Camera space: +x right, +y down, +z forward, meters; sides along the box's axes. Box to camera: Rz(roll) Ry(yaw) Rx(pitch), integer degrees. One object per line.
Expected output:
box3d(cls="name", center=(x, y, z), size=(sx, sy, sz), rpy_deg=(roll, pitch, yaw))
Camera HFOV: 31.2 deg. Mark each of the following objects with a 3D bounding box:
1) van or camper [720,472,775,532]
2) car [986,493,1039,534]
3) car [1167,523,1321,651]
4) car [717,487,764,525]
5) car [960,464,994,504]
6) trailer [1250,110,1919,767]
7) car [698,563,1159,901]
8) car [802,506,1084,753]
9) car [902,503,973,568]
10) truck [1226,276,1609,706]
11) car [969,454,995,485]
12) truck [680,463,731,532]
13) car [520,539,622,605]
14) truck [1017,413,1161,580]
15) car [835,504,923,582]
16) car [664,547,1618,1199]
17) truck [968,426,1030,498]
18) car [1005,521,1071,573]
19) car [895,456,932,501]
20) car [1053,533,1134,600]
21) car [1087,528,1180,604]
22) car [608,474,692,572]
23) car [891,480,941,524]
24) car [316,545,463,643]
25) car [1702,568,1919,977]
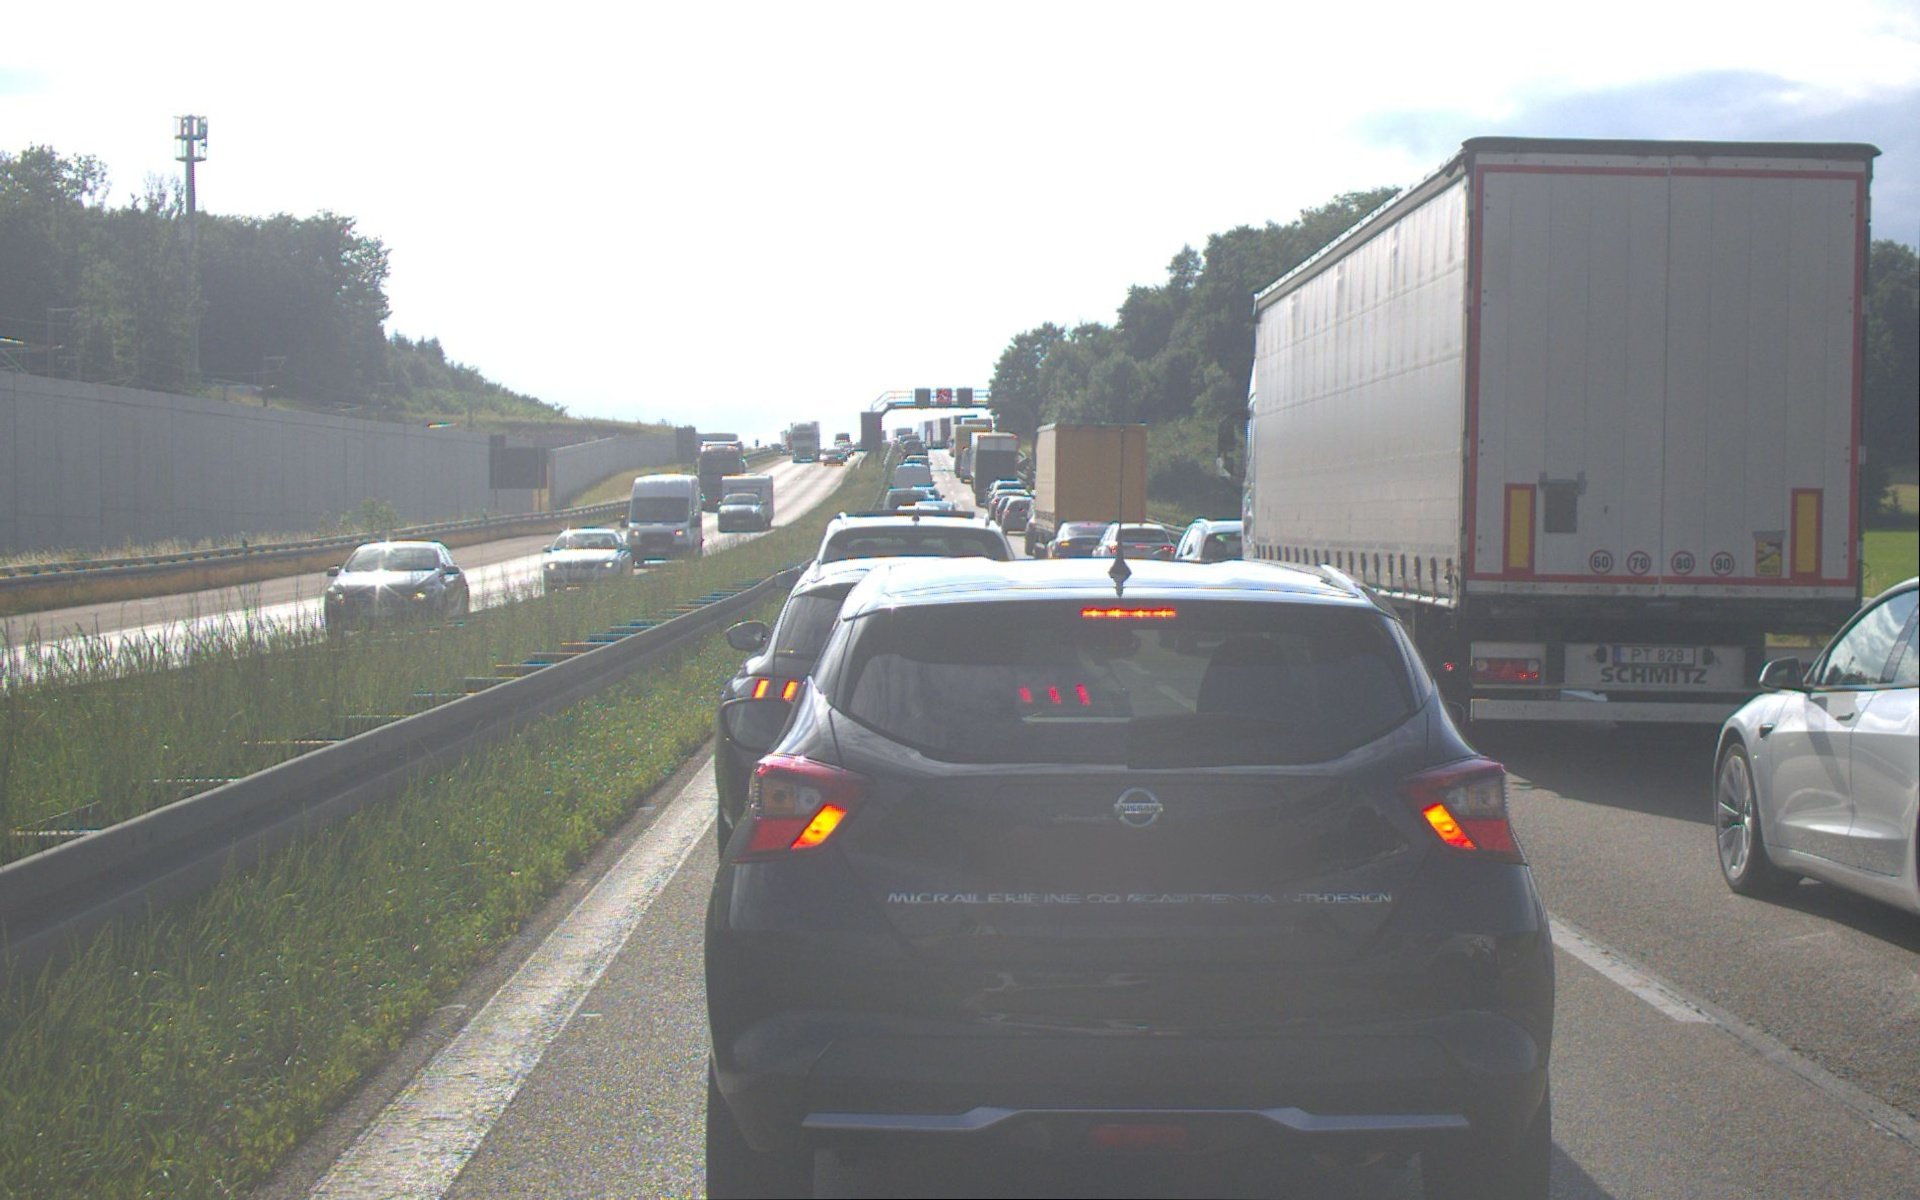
box3d(cls="van or camper", center=(-9.825, -4.538, 159.699), size=(2.252, 2.694, 7.171), rpy_deg=(0, 1, -1))
box3d(cls="car", center=(2.162, -3.615, 143.778), size=(1.873, 1.638, 4.233), rpy_deg=(0, 2, -4))
box3d(cls="car", center=(3.700, -0.195, 45.360), size=(1.697, 1.605, 4.437), rpy_deg=(0, 1, 1))
box3d(cls="car", center=(-9.816, -4.221, 153.924), size=(1.910, 1.665, 4.363), rpy_deg=(0, 2, -1))
box3d(cls="car", center=(0.966, -6.775, 200.832), size=(1.873, 2.151, 5.212), rpy_deg=(0, 4, -1))
box3d(cls="trailer", center=(4.509, -0.991, 27.784), size=(3.130, 3.997, 13.366), rpy_deg=(1, 0, 0))
box3d(cls="car", center=(-0.144, 0.516, 16.100), size=(1.873, 1.353, 4.232), rpy_deg=(0, 1, 0))
box3d(cls="car", center=(-0.130, 0.165, 24.972), size=(1.873, 1.638, 4.232), rpy_deg=(0, 1, 0))
box3d(cls="car", center=(-0.622, -1.758, 93.002), size=(1.873, 1.638, 4.233), rpy_deg=(0, 2, 0))
box3d(cls="truck", center=(4.496, -1.026, 34.863), size=(3.133, 4.002, 5.163), rpy_deg=(1, 0, 0))
box3d(cls="car", center=(1.635, -9.715, 255.790), size=(1.873, 2.151, 5.212), rpy_deg=(0, 4, -1))
box3d(cls="truck", center=(-14.848, -5.953, 200.741), size=(2.582, 3.909, 5.722), rpy_deg=(-1, 1, -1))
box3d(cls="car", center=(-8.798, -0.654, 77.978), size=(1.873, 1.446, 4.232), rpy_deg=(0, 1, -1))
box3d(cls="truck", center=(3.671, -2.916, 101.510), size=(3.296, 4.562, 12.442), rpy_deg=(1, 0, -2))
box3d(cls="car", center=(-1.746, -1.271, 75.529), size=(1.873, 1.638, 4.233), rpy_deg=(0, 2, 0))
box3d(cls="car", center=(0.320, 0.597, 8.506), size=(1.773, 1.446, 4.232), rpy_deg=(0, 1, 0))
box3d(cls="truck", center=(2.490, -9.056, 226.359), size=(3.464, 4.561, 12.443), rpy_deg=(1, 2, -2))
box3d(cls="car", center=(2.526, -1.742, 112.324), size=(1.873, 1.638, 4.233), rpy_deg=(0, 1, -2))
box3d(cls="car", center=(-2.407, -6.260, 176.901), size=(1.873, 2.151, 5.212), rpy_deg=(0, 4, -1))
box3d(cls="car", center=(3.406, -0.877, 88.053), size=(1.873, 1.638, 4.232), rpy_deg=(0, 1, 0))
box3d(cls="car", center=(3.948, -0.791, 78.616), size=(1.873, 1.638, 4.233), rpy_deg=(0, 2, 0))
box3d(cls="car", center=(-9.297, -2.311, 103.546), size=(2.104, 2.860, 5.637), rpy_deg=(0, 1, -1))
box3d(cls="car", center=(-1.724, -3.810, 133.123), size=(1.873, 1.638, 4.233), rpy_deg=(0, 2, -2))
box3d(cls="car", center=(-8.664, -0.117, 52.474), size=(1.651, 1.446, 3.956), rpy_deg=(0, 1, -1))
box3d(cls="car", center=(4.206, 0.600, 12.836), size=(1.788, 1.389, 4.437), rpy_deg=(0, 1, -2))
